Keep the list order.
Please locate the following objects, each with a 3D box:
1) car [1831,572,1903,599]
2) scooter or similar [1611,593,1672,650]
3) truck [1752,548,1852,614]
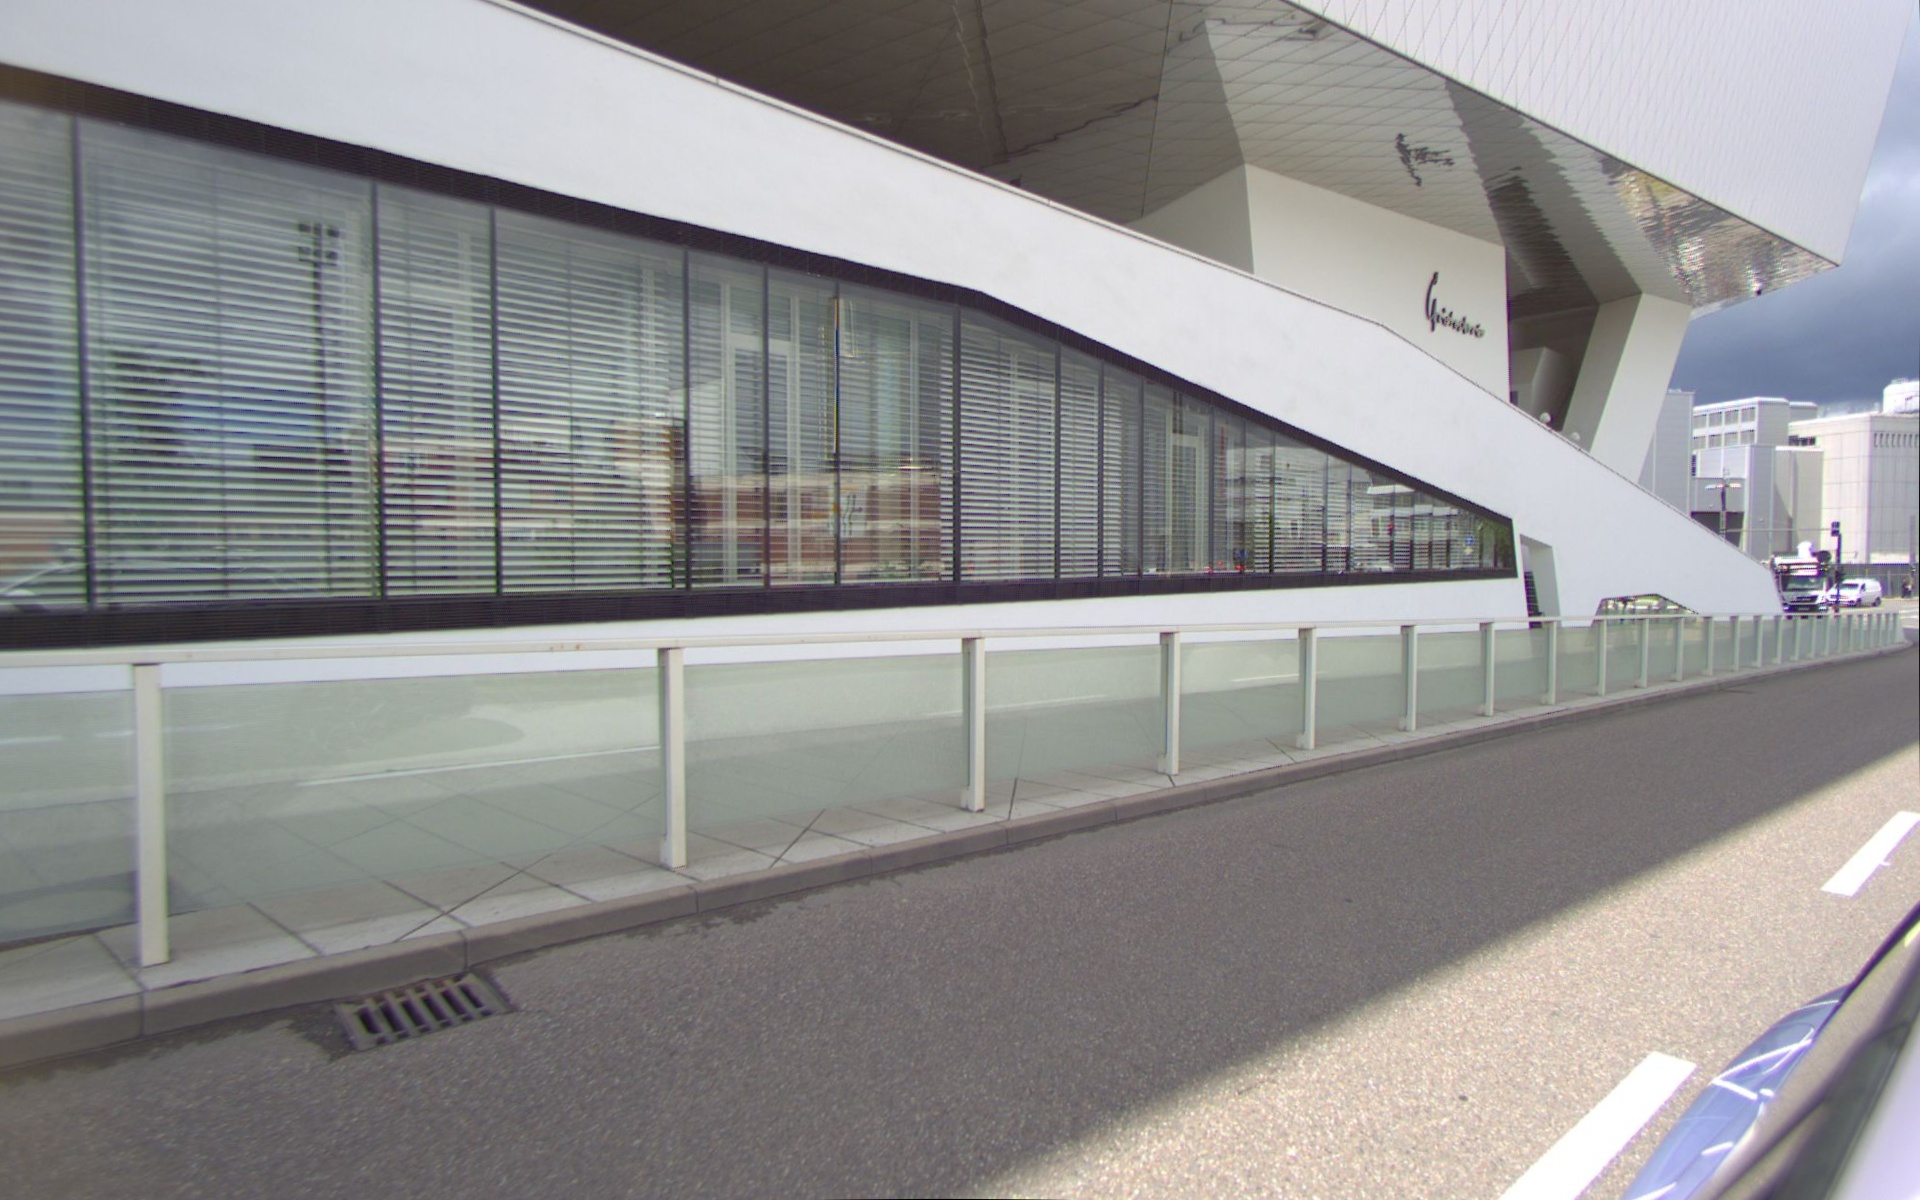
[{"bbox_3d":[68.826,-1.088,76.794,5.195,1.934,2.169,0,2,-24],"label":"car"},{"bbox_3d":[16.171,0.485,24.003,1.919,1.258,0.707,-1,2,-41],"label":"scooter or similar"},{"bbox_3d":[52.558,-1.241,63.496,2.821,3.736,10.643,2,2,29],"label":"truck"}]
